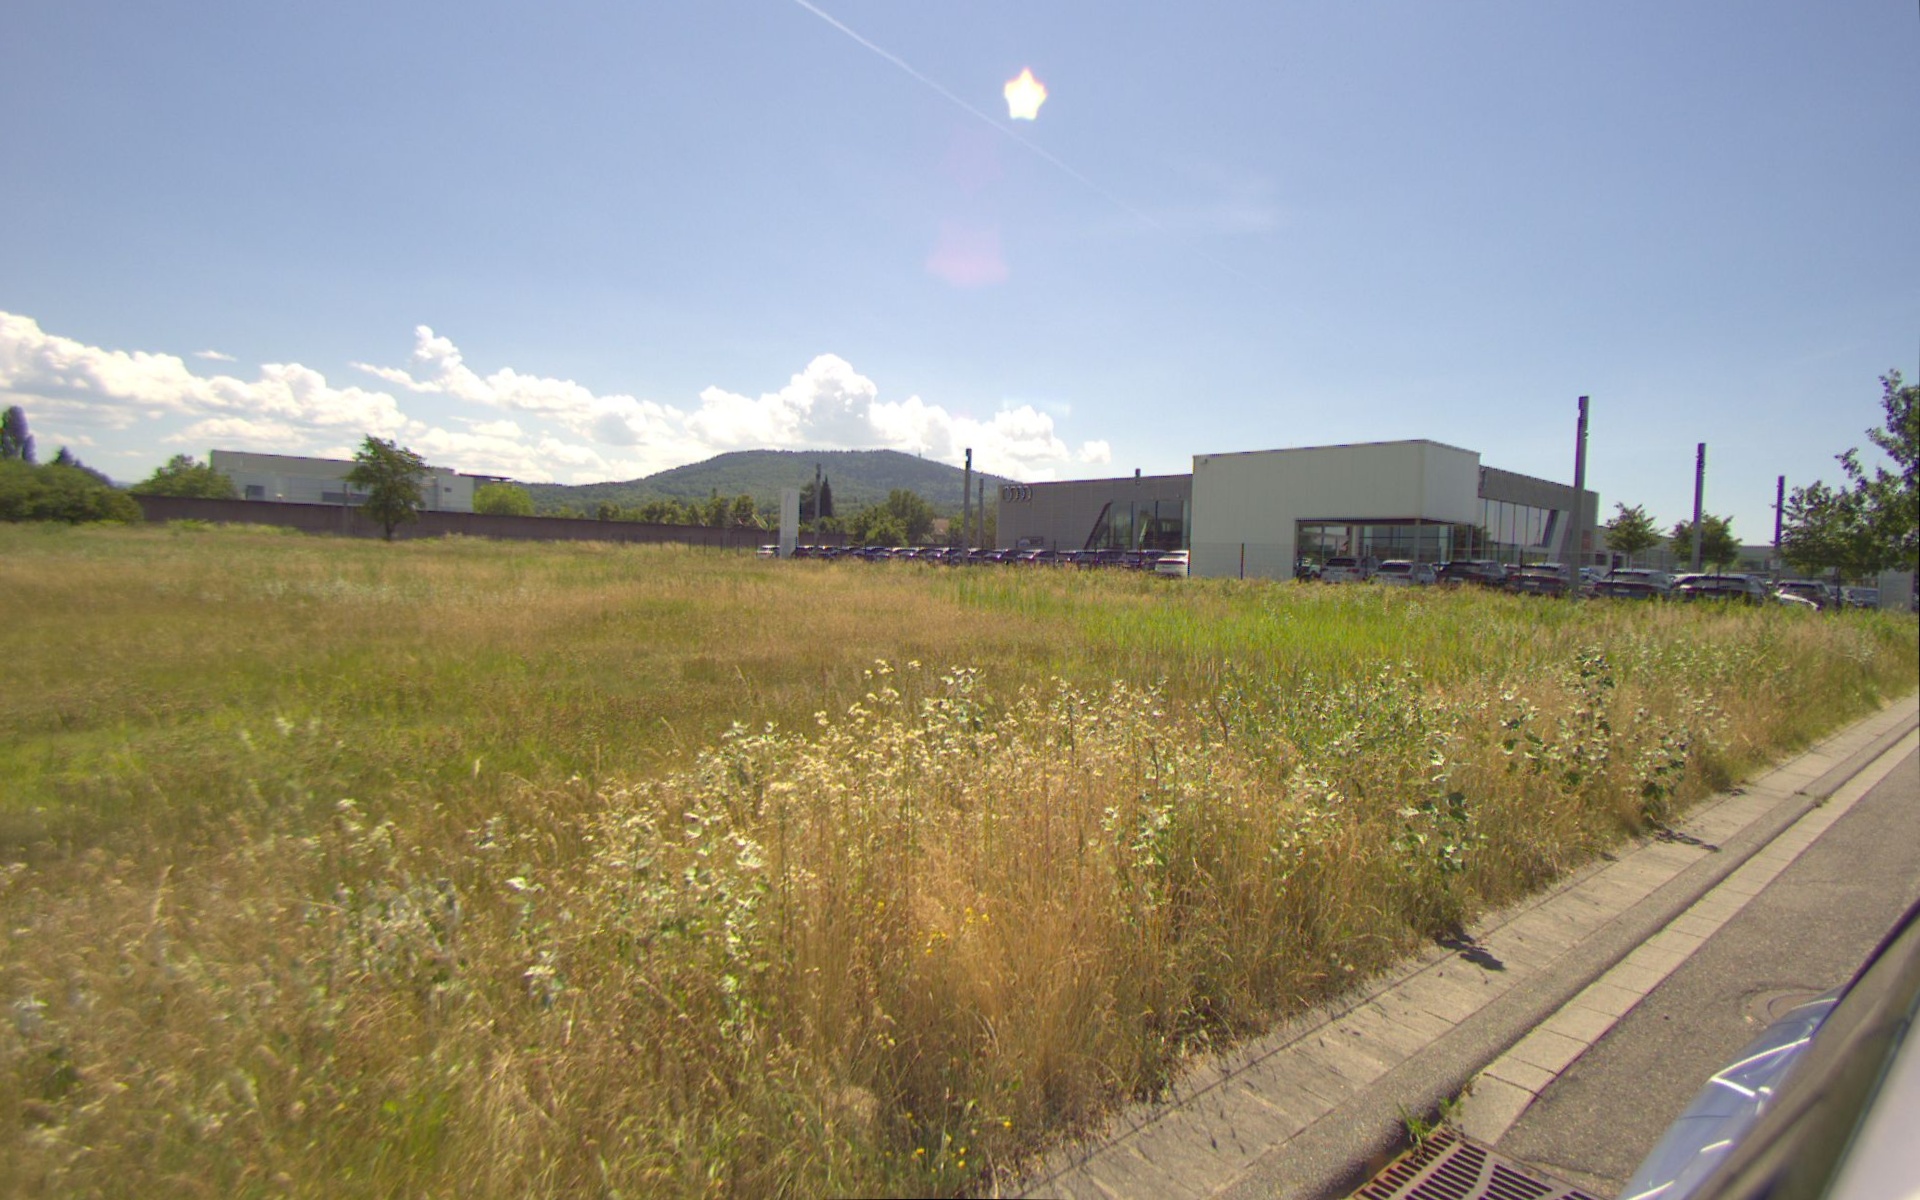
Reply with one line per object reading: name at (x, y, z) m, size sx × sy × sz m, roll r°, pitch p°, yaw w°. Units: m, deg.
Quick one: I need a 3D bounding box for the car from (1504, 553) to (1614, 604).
car at (22.477, -0.785, 37.923) m, size 4.723 × 1.746 × 2.030 m, roll 0°, pitch 4°, yaw -40°

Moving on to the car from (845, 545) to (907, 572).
car at (-5.884, -2.900, 71.214) m, size 3.931 × 1.807 × 1.997 m, roll 0°, pitch 3°, yaw -42°

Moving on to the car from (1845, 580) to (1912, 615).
car at (47.234, -0.164, 52.015) m, size 4.901 × 1.474 × 1.965 m, roll -2°, pitch 5°, yaw -42°

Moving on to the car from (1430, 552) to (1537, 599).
car at (20.669, -0.954, 39.891) m, size 4.723 × 1.700 × 2.030 m, roll 0°, pitch 4°, yaw -40°

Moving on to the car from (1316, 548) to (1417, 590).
car at (17.729, -1.332, 44.080) m, size 4.723 × 1.674 × 2.030 m, roll 0°, pitch 4°, yaw -40°

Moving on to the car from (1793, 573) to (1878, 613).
car at (38.667, -0.319, 44.651) m, size 5.148 × 1.532 × 2.030 m, roll 0°, pitch 5°, yaw -41°

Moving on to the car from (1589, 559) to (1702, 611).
car at (24.213, -0.526, 35.674) m, size 4.723 × 1.630 × 2.030 m, roll 0°, pitch 4°, yaw -40°

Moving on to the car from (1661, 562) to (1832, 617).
car at (28.757, -0.428, 37.119) m, size 1.995 × 1.713 × 4.541 m, roll 0°, pitch 4°, yaw -39°

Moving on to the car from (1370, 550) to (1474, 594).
car at (19.225, -1.144, 42.052) m, size 4.723 × 1.674 × 2.030 m, roll 0°, pitch 4°, yaw -40°

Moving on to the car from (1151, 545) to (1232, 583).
car at (11.530, -1.785, 50.300) m, size 3.931 × 1.807 × 1.997 m, roll 0°, pitch 3°, yaw -42°

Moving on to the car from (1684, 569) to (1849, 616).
car at (30.777, -0.326, 38.738) m, size 1.994 × 1.475 × 4.543 m, roll 0°, pitch 4°, yaw -37°

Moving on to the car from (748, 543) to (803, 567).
car at (-14.864, -3.618, 81.550) m, size 3.931 × 1.807 × 1.997 m, roll 0°, pitch 3°, yaw -42°

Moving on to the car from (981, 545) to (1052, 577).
car at (3.361, -2.318, 60.168) m, size 3.931 × 1.807 × 1.997 m, roll 0°, pitch 3°, yaw -42°

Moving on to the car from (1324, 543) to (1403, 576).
car at (21.782, -2.164, 54.570) m, size 4.696 × 1.609 × 2.029 m, roll 0°, pitch 3°, yaw -41°

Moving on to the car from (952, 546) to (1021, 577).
car at (1.658, -2.372, 62.179) m, size 3.931 × 1.807 × 1.997 m, roll 0°, pitch 3°, yaw -42°

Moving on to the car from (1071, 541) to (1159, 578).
car at (8.408, -2.167, 54.568) m, size 4.723 × 1.746 × 2.030 m, roll 0°, pitch 4°, yaw -40°

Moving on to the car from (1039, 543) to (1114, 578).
car at (6.512, -2.173, 56.314) m, size 3.931 × 1.807 × 1.997 m, roll 0°, pitch 3°, yaw -42°

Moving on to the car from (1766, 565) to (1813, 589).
car at (60.477, -1.669, 73.762) m, size 4.216 × 1.632 × 1.965 m, roll 0°, pitch 4°, yaw -43°

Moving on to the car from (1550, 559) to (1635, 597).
car at (29.434, -1.022, 47.048) m, size 4.696 × 1.609 × 2.029 m, roll 0°, pitch 4°, yaw -41°

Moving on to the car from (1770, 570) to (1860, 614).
car at (34.745, -0.321, 41.097) m, size 4.696 × 1.592 × 2.029 m, roll 0°, pitch 4°, yaw -41°

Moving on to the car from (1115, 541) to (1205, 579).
car at (10.390, -2.052, 52.497) m, size 4.723 × 1.746 × 2.030 m, roll 0°, pitch 4°, yaw -40°

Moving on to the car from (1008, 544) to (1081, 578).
car at (4.882, -2.234, 58.340) m, size 3.931 × 1.807 × 1.997 m, roll 0°, pitch 3°, yaw -42°

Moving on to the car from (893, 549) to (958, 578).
car at (-2.266, -2.409, 66.955) m, size 3.931 × 1.807 × 1.997 m, roll 0°, pitch 3°, yaw -42°

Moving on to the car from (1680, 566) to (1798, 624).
car at (26.125, -0.174, 33.885) m, size 5.017 × 1.713 × 2.030 m, roll 0°, pitch 4°, yaw -40°
